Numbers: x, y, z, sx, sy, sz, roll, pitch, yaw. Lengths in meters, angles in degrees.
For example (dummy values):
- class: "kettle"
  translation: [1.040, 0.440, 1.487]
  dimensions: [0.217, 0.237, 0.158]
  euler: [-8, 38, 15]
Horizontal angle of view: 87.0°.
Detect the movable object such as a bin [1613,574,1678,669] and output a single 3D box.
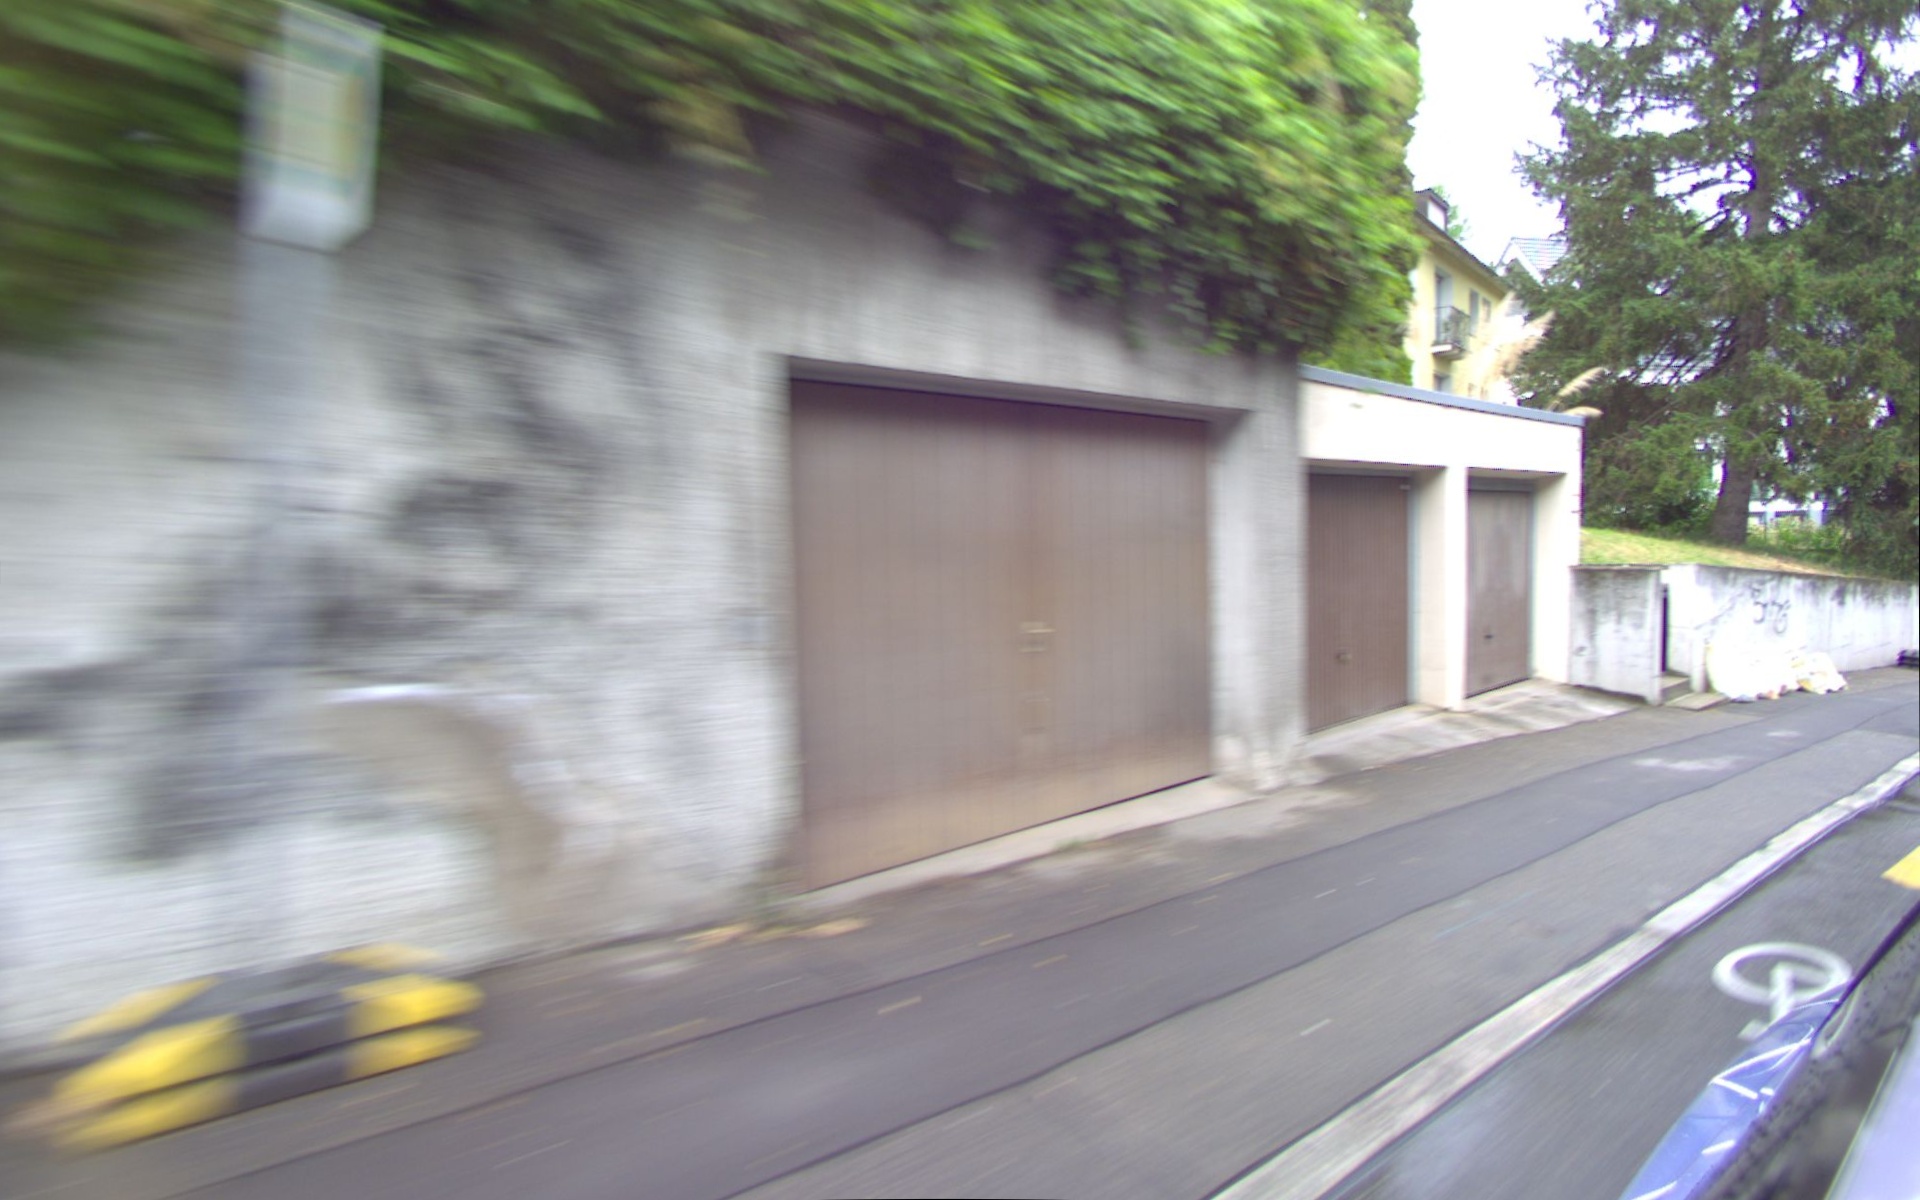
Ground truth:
- class: "movable object such as a bin"
  translation: [8.377, 0.249, 12.366]
  dimensions: [0.484, 1.105, 0.482]
  euler: [1, 3, -38]
